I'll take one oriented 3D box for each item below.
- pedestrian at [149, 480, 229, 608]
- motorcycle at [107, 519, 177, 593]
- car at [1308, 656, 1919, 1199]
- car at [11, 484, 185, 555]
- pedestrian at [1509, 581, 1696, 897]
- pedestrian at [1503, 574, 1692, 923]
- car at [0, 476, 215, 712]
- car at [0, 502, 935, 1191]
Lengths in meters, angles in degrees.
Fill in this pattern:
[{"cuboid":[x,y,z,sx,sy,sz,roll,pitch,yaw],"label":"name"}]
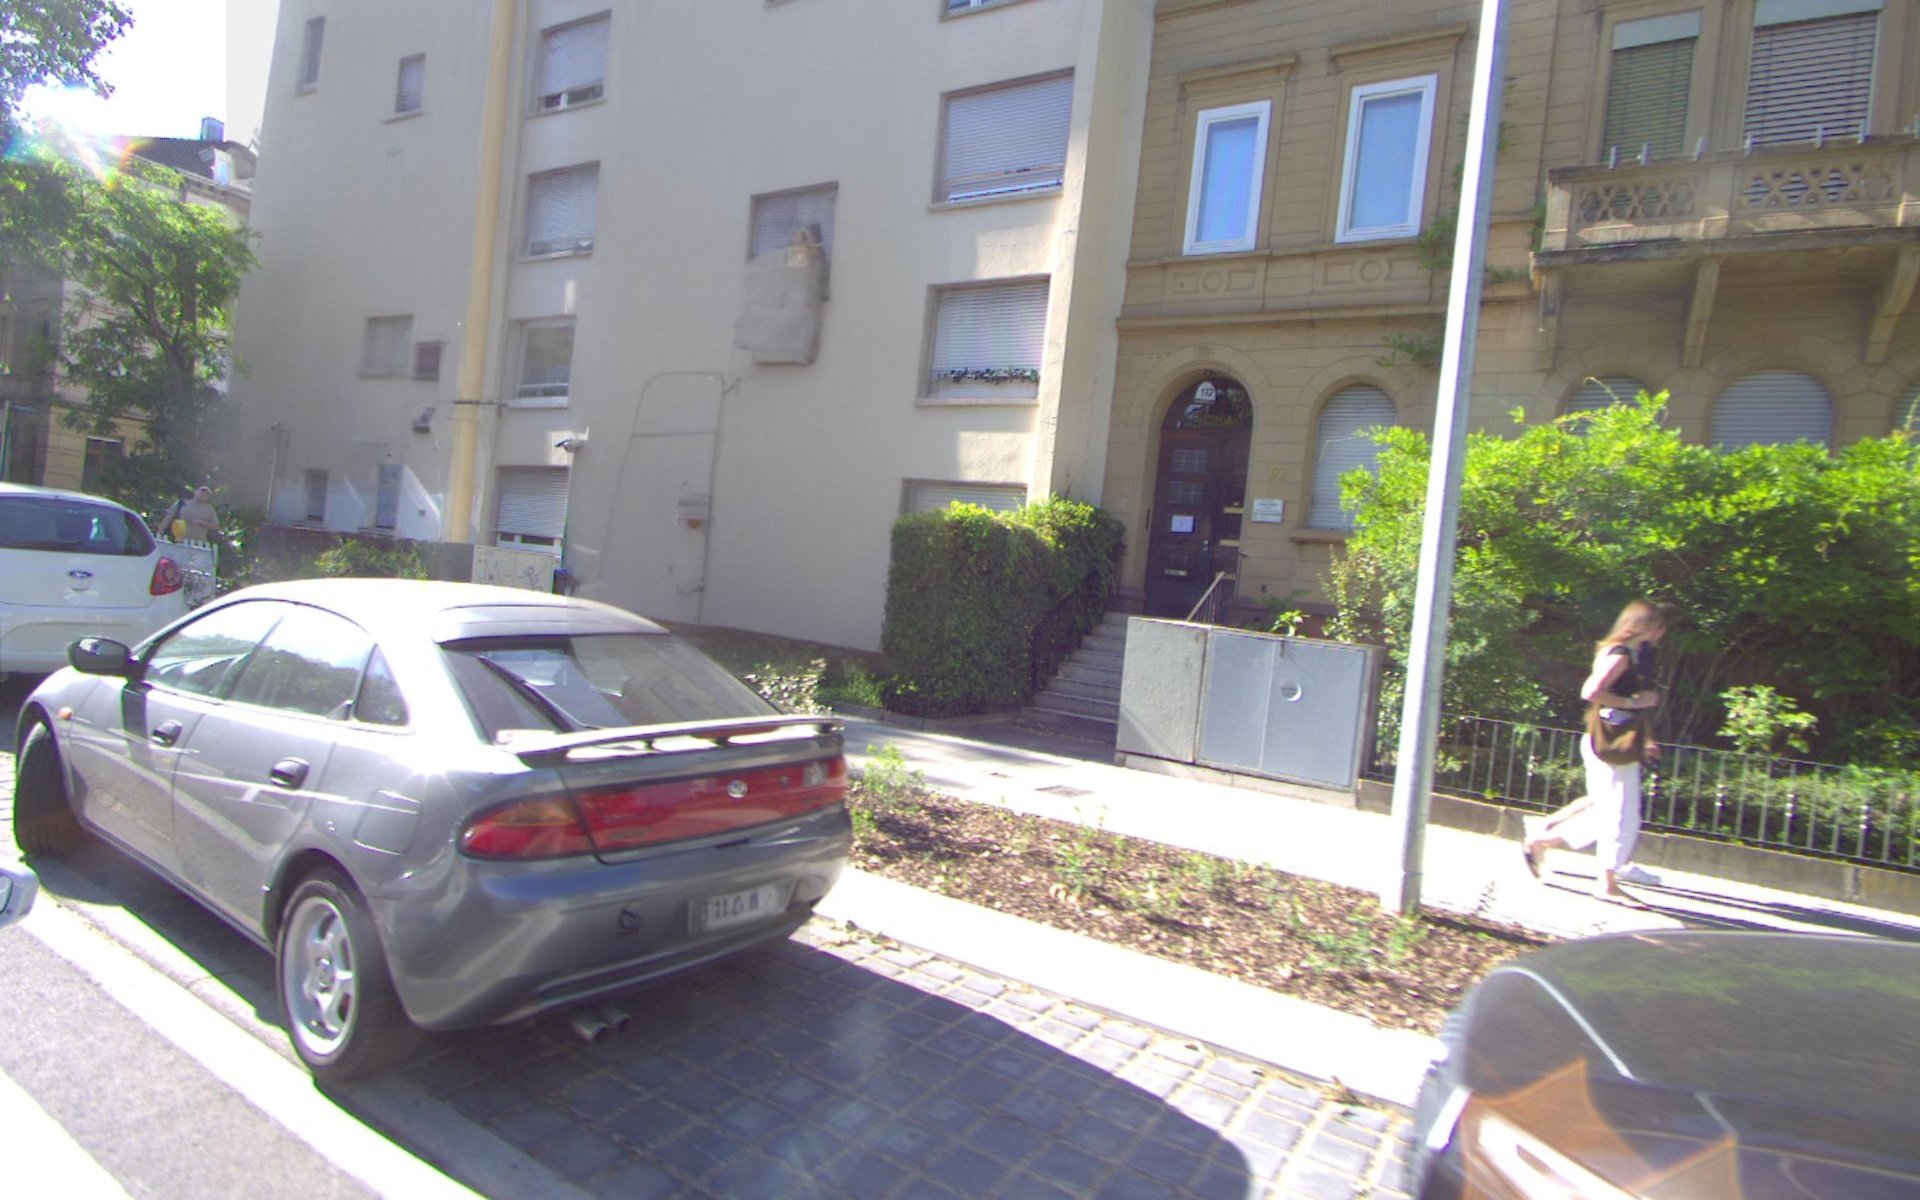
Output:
[{"cuboid":[-11.886,-0.857,15.509,0.683,1.873,0.665,7,1,31],"label":"pedestrian"},{"cuboid":[-15.003,-0.813,18.440,1.532,1.201,0.596,6,0,39],"label":"motorcycle"},{"cuboid":[2.829,1.065,1.083,4.402,1.432,1.716,6,3,32],"label":"car"},{"cuboid":[-28.397,-2.618,33.252,1.842,1.580,3.934,9,0,33],"label":"car"},{"cuboid":[4.084,0.843,6.449,0.788,1.819,0.697,7,1,31],"label":"pedestrian"},{"cuboid":[3.671,0.814,5.844,0.703,1.819,0.697,7,1,31],"label":"pedestrian"},{"cuboid":[-7.478,-0.189,7.644,3.672,1.505,1.620,6,1,32],"label":"car"},{"cuboid":[-2.283,0.494,4.063,3.981,1.431,1.717,6,1,32],"label":"car"}]
